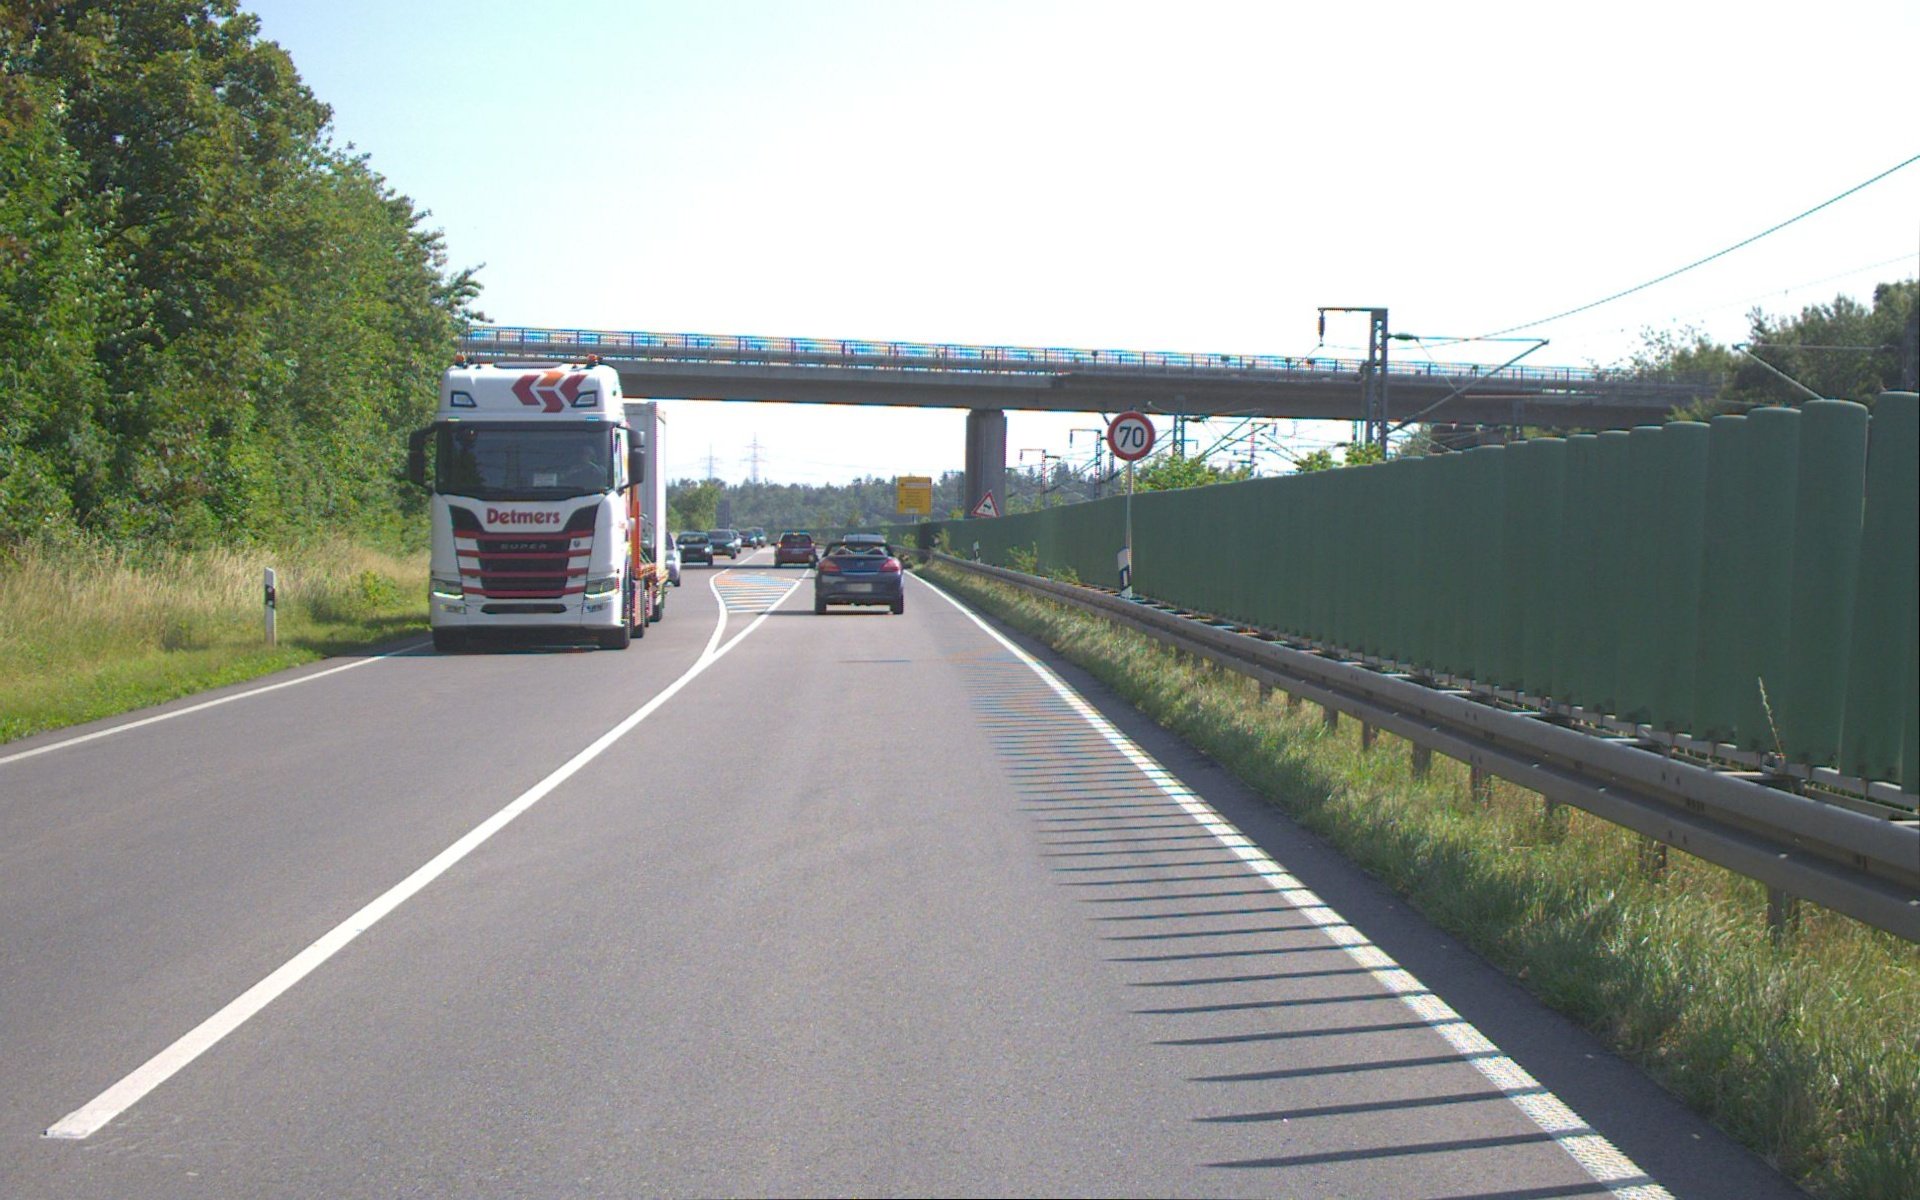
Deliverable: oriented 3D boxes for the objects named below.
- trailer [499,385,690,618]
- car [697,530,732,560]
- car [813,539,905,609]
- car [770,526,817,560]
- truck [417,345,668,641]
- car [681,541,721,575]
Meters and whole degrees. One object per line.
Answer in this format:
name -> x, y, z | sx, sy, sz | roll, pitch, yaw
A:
trailer -> -5.999, -1.614, 57.536 | 2.559, 3.583, 8.293 | 0, 1, -2
car -> -13.760, -3.079, 192.473 | 1.922, 1.587, 4.431 | 1, 1, -5
car -> -1.904, -0.492, 64.484 | 1.663, 1.257, 4.000 | 0, 1, -2
car -> -7.027, -2.398, 145.380 | 1.895, 1.413, 4.000 | 0, 1, -2
truck -> -5.658, -1.440, 48.132 | 2.559, 3.676, 10.489 | 0, 1, -2
car -> -11.550, -1.895, 153.464 | 1.749, 1.476, 4.001 | 0, 1, -4
